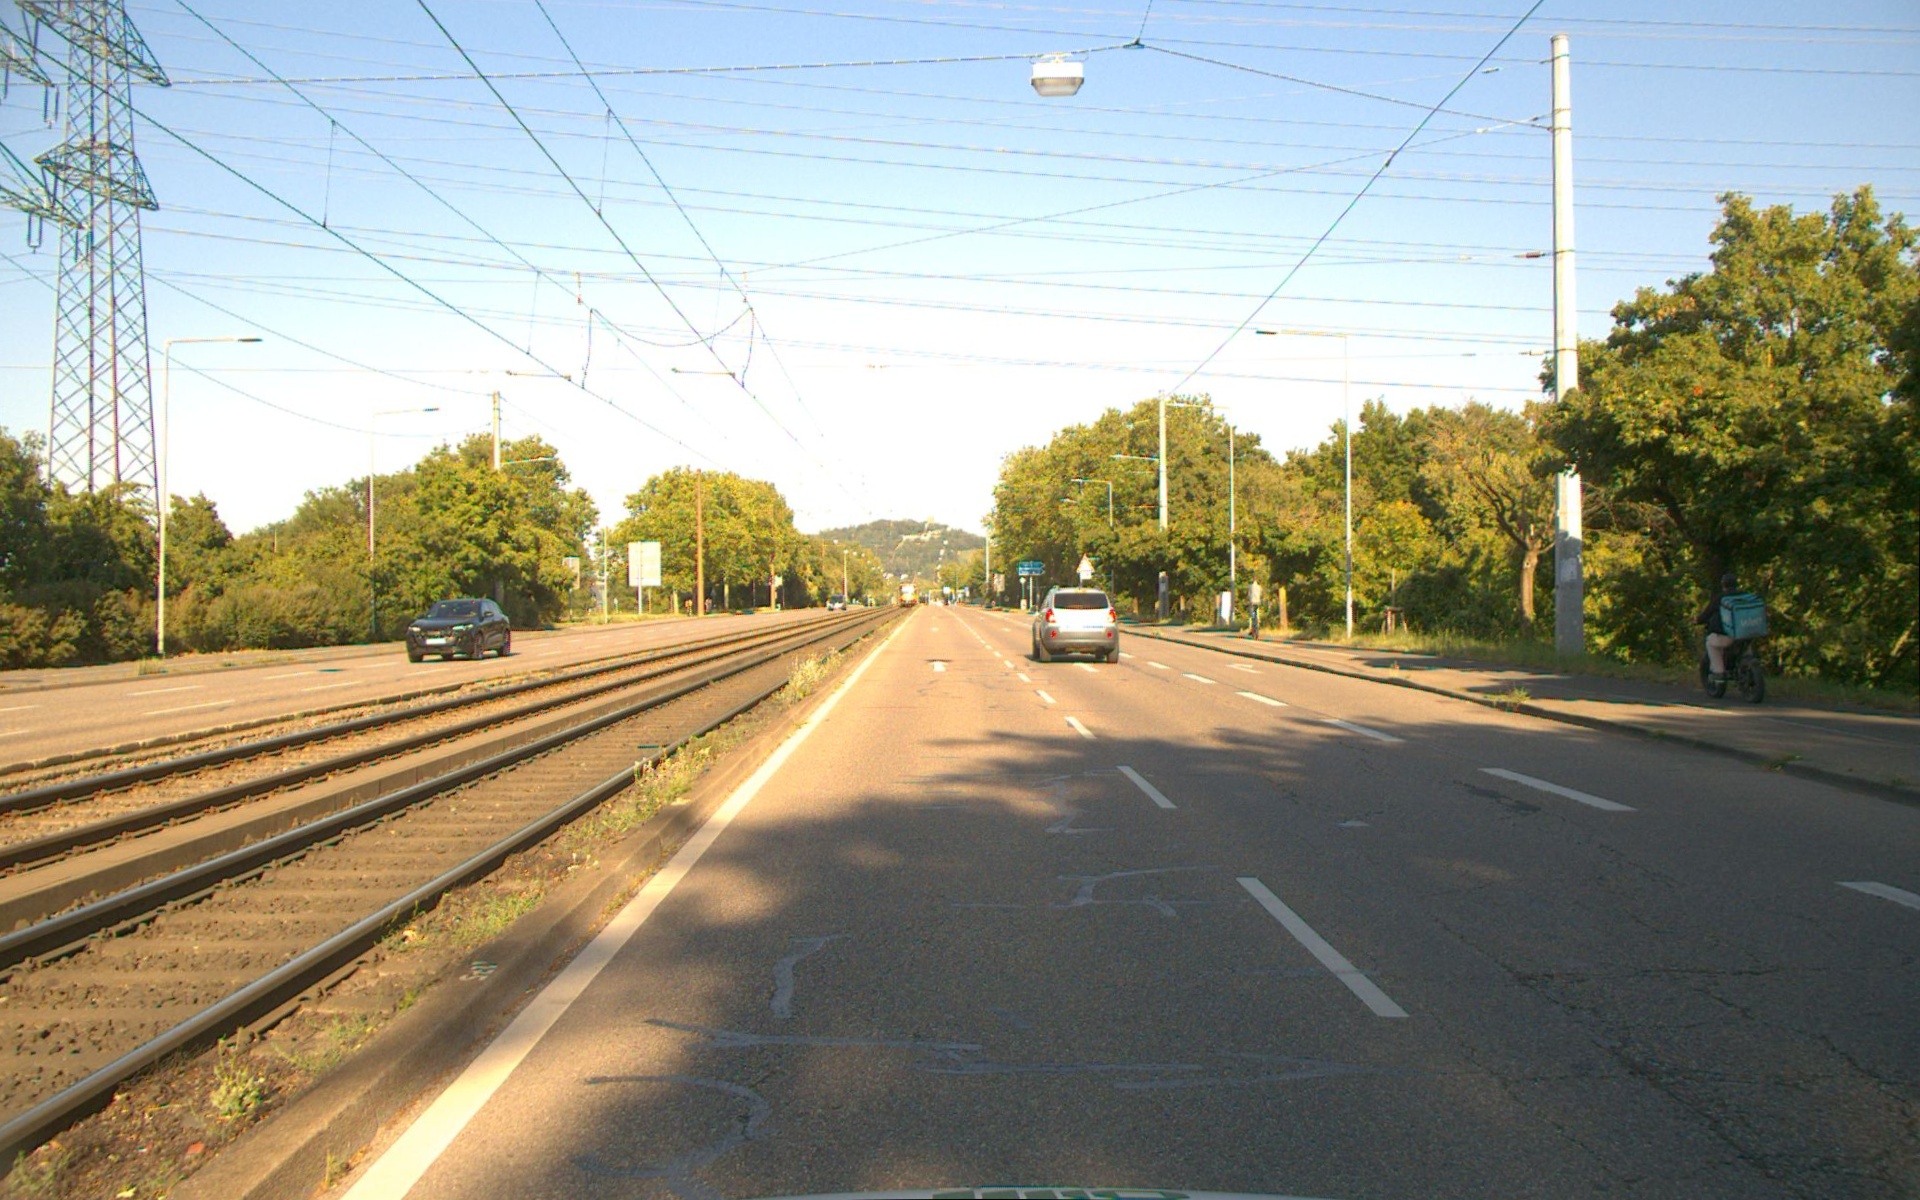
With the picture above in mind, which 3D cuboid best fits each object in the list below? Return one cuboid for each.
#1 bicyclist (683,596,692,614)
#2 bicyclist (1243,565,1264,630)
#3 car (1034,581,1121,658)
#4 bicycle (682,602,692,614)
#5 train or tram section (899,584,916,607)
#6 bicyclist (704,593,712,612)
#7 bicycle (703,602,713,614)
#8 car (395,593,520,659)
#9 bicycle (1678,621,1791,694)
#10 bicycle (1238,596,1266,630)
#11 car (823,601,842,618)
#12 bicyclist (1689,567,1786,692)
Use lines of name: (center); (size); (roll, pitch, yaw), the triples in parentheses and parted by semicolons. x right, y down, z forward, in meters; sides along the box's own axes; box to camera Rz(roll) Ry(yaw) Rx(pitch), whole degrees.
bicyclist: (-24.236, 0.453, 147.127); (0.578, 1.555, 0.906); (-1, -1, -2)
bicyclist: (9.401, -0.071, 52.973); (0.516, 2.052, 0.729); (1, -1, 0)
car: (2.735, 0.444, 39.230); (1.849, 1.723, 4.257); (0, 0, 1)
bicycle: (-24.231, 0.719, 147.040); (0.578, 1.040, 2.185); (-1, 0, -2)
train or tram section: (-7.954, -0.628, 251.197); (2.264, 3.273, 9.472); (1, 0, -1)
bicyclist: (-22.740, 0.240, 149.144); (0.578, 1.639, 0.967); (-1, -1, -2)
bicycle: (-22.740, 0.721, 149.143); (0.578, 1.040, 2.185); (-1, 0, -2)
car: (-13.710, 0.694, 45.429); (1.953, 1.653, 4.683); (-1, 0, 0)
bicycle: (9.813, 0.713, 21.013); (0.614, 0.848, 1.634); (-4, 0, -1)
bicycle: (9.389, 0.423, 53.242); (0.516, 1.079, 1.971); (1, 0, 0)
car: (-15.920, 1.195, 207.265); (1.952, 1.956, 4.860); (-1, 0, 0)
bicyclist: (9.802, 0.370, 20.885); (0.614, 1.496, 1.060); (-4, -1, -1)
